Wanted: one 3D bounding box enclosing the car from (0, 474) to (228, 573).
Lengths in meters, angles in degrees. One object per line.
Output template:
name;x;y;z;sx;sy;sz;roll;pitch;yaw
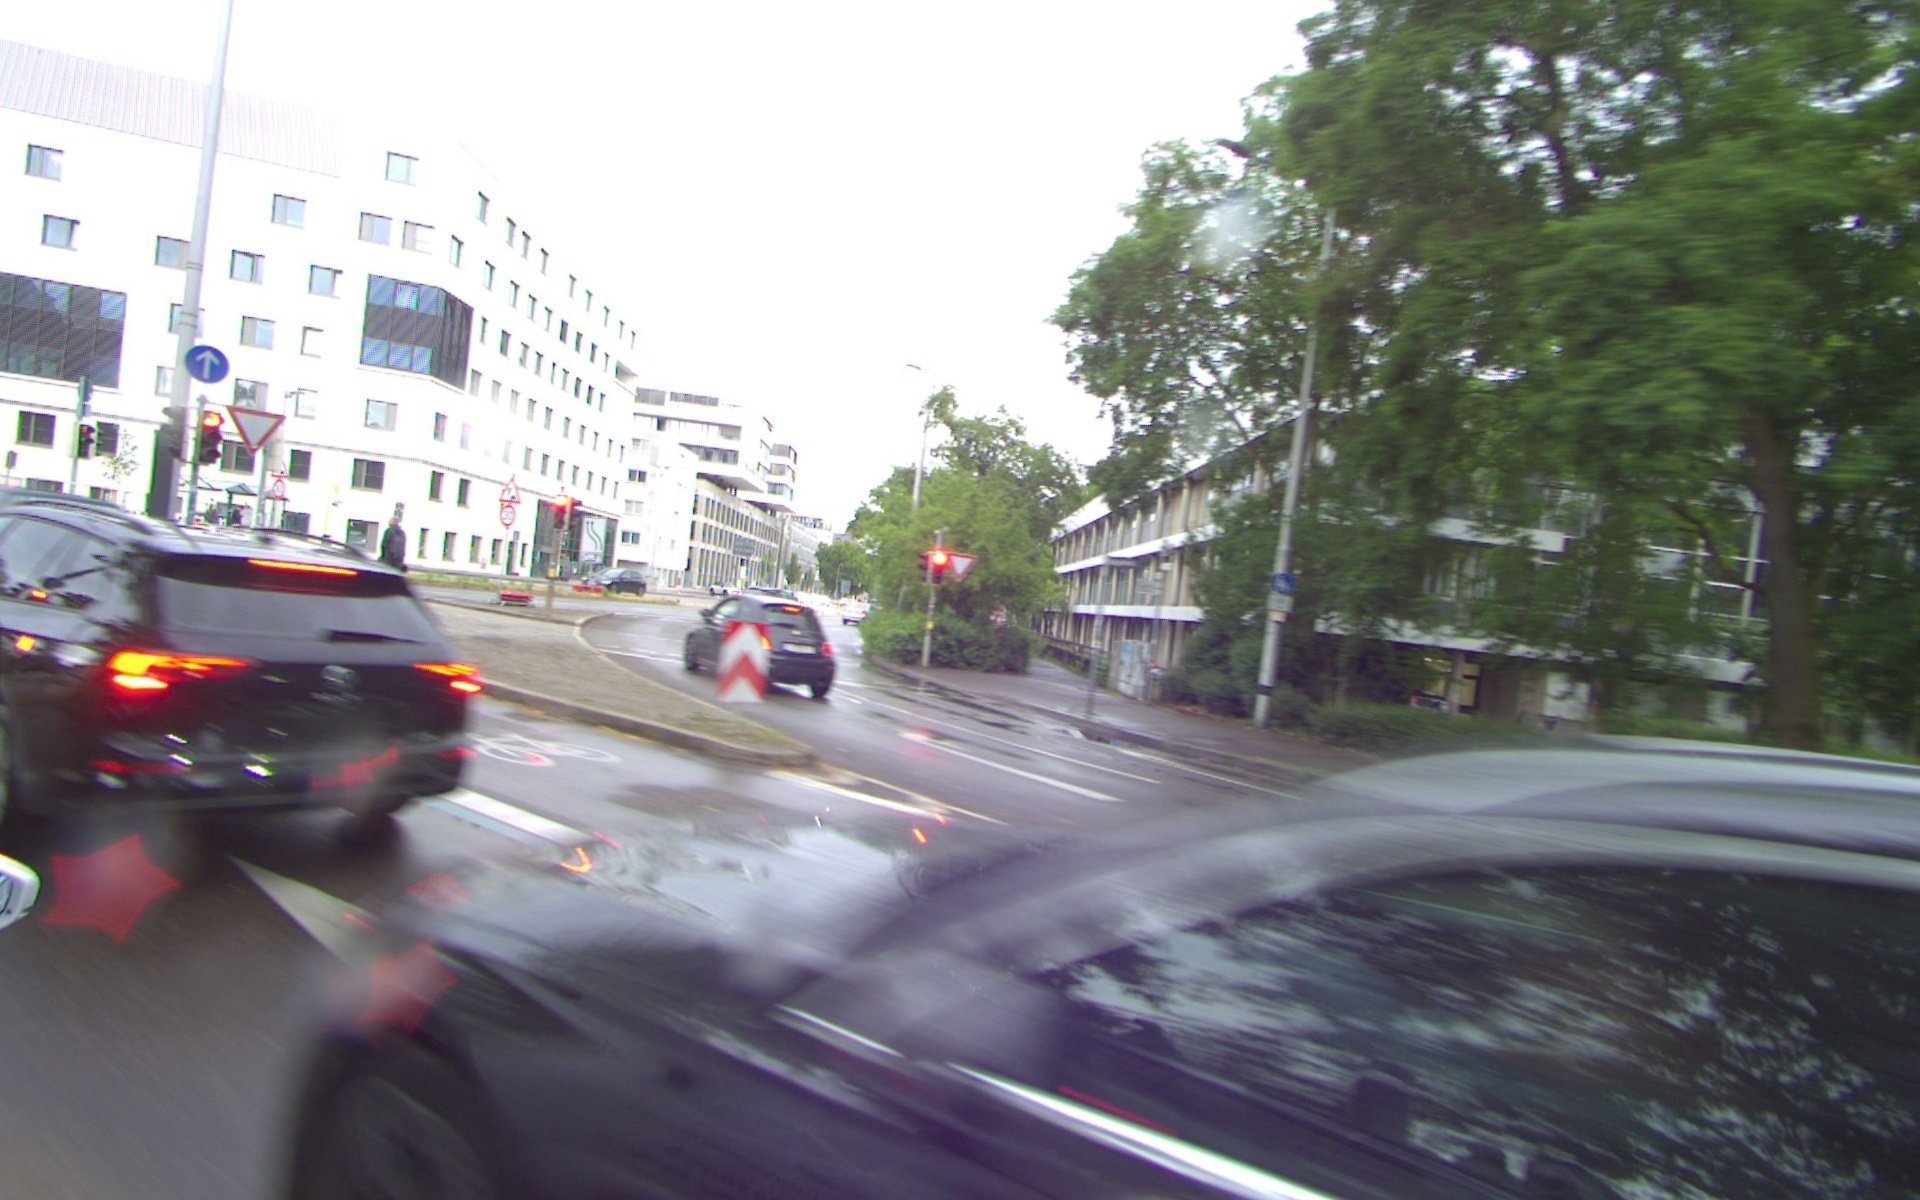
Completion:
car;-19.708;-1.716;22.561;1.963;1.694;4.969;6;0;21

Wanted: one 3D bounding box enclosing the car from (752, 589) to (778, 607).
car;-18.362;-0.172;94.907;1.966;1.395;4.382;8;-1;-8

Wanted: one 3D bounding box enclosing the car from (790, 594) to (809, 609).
car;-18.957;0.161;118.708;1.966;1.395;4.382;8;-1;-8

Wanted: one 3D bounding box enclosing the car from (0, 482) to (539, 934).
car;-4.444;0.233;5.368;4.437;1.484;1.672;8;0;32

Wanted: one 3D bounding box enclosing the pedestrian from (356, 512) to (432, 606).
pedestrian;-12.519;-0.894;22.253;1.009;1.914;0.830;6;-1;24

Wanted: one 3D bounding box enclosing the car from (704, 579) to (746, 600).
car;-23.901;-1.023;102.252;4.003;1.575;1.961;7;-2;39

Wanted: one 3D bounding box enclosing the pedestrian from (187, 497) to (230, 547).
pedestrian;-30.878;-3.196;41.337;0.808;1.861;0.954;6;-1;21

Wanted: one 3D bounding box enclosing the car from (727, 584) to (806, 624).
car;-9.130;0.215;47.795;1.833;1.437;4.004;6;-2;19

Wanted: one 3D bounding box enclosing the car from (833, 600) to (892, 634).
car;-5.992;1.093;62.497;1.833;1.669;4.782;6;-2;17

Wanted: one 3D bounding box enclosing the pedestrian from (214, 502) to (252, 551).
pedestrian;-31.617;-3.199;43.755;0.941;1.958;1.001;6;-2;42

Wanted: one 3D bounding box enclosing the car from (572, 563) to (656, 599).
car;-18.876;-1.009;55.068;1.962;1.395;4.389;7;-1;18

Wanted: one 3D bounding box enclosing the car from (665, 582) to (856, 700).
car;-3.518;0.629;17.160;1.849;1.467;3.968;8;-1;-31

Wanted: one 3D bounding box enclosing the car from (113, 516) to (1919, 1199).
car;0.887;0.896;1.524;4.849;1.462;1.882;7;-1;33
